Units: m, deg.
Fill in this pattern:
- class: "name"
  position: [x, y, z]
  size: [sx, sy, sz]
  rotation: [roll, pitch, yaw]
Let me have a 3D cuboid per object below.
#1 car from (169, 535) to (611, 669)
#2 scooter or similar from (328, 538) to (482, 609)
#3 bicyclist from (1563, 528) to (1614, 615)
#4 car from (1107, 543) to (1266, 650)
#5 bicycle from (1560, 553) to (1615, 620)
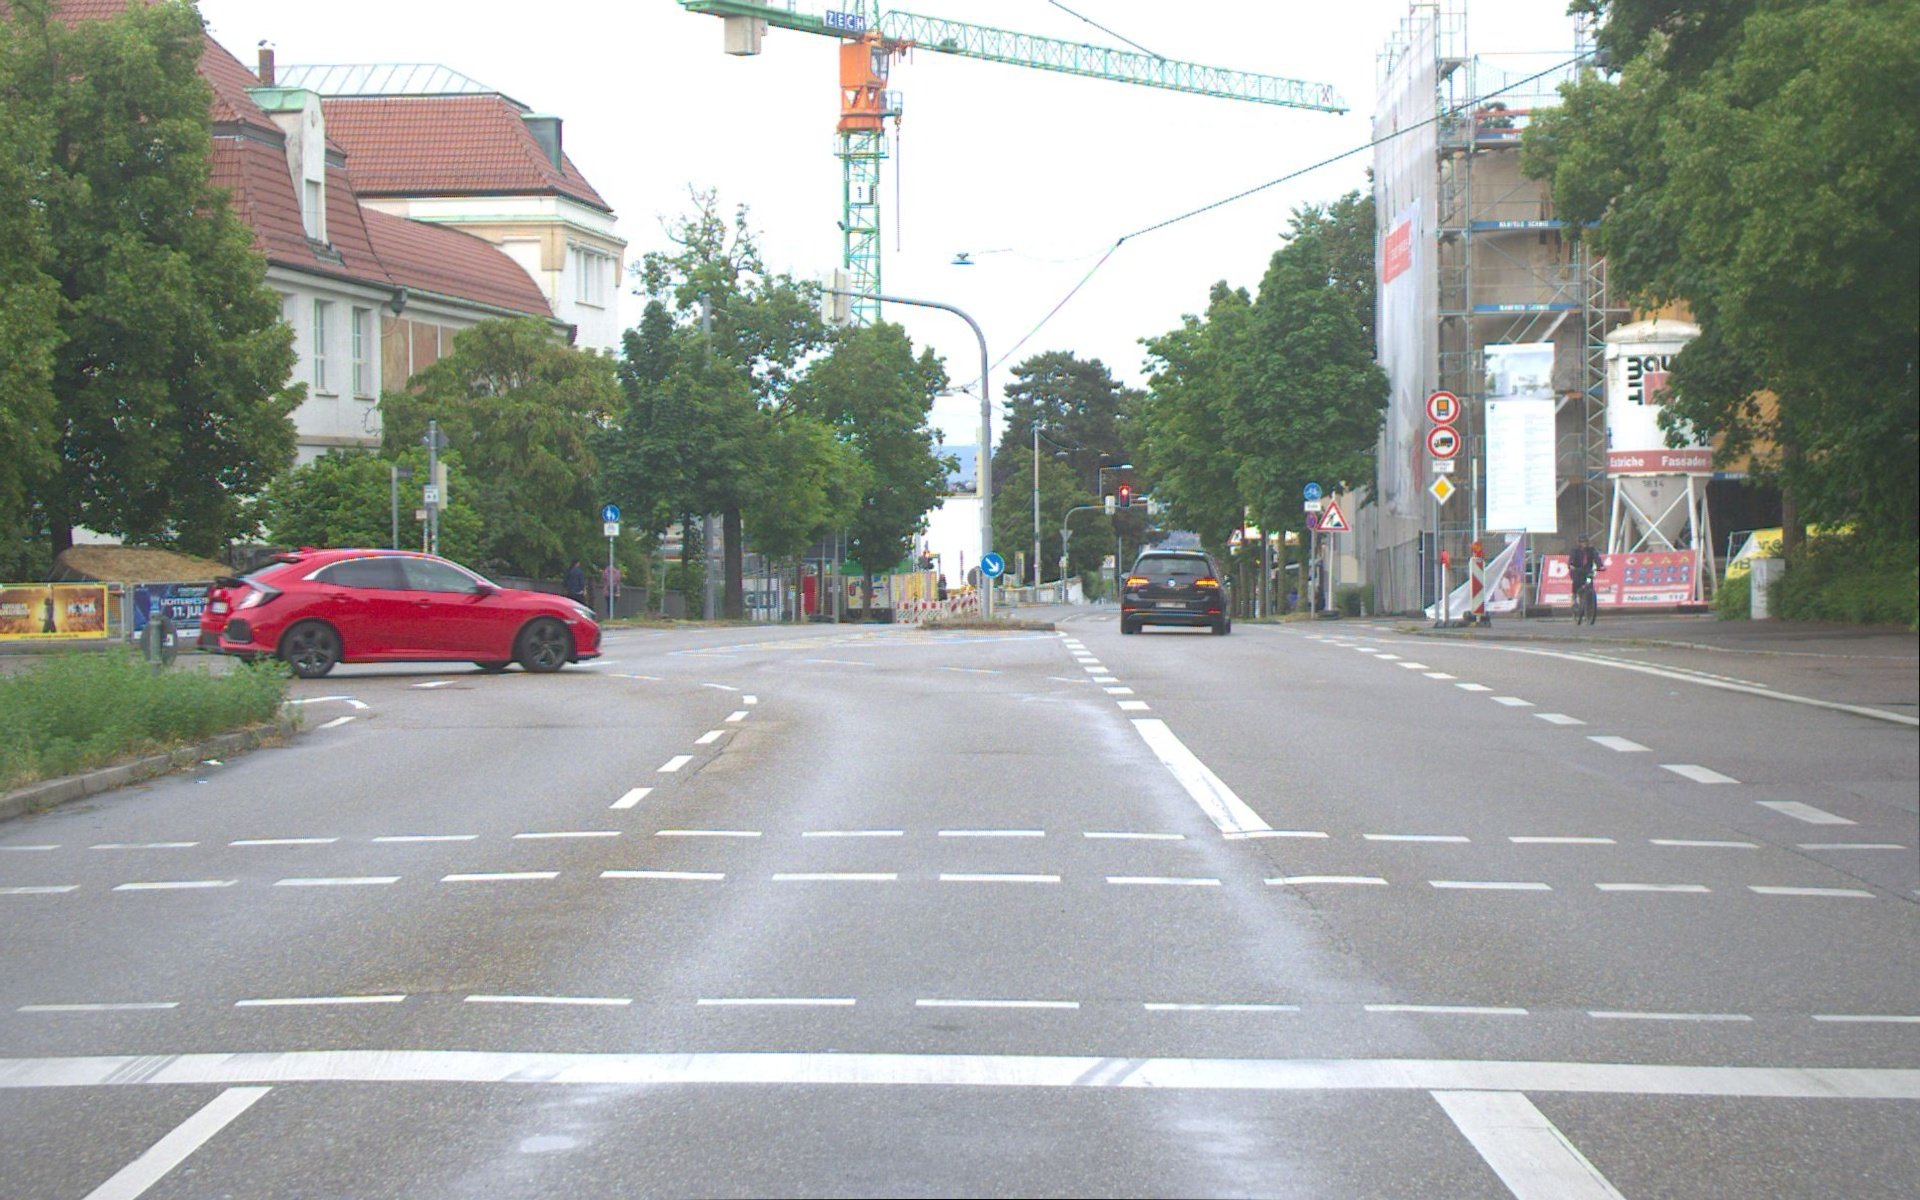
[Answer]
- class: "car"
  position: [-6.393, -0.009, 38.641]
  size: [4.504, 1.420, 2.000]
  rotation: [0, 1, -27]
- class: "scooter or similar"
  position: [-11.704, -0.570, 72.565]
  size: [3.087, 1.435, 0.949]
  rotation: [-1, 1, -1]
- class: "bicyclist"
  position: [11.523, -0.521, 63.072]
  size: [0.720, 1.558, 1.143]
  rotation: [1, -1, 2]
- class: "car"
  position: [3.873, -0.039, 58.158]
  size: [1.995, 1.700, 3.997]
  rotation: [1, -1, 14]
- class: "bicycle"
  position: [11.514, -0.245, 63.099]
  size: [0.720, 1.189, 1.756]
  rotation: [1, -1, 2]
